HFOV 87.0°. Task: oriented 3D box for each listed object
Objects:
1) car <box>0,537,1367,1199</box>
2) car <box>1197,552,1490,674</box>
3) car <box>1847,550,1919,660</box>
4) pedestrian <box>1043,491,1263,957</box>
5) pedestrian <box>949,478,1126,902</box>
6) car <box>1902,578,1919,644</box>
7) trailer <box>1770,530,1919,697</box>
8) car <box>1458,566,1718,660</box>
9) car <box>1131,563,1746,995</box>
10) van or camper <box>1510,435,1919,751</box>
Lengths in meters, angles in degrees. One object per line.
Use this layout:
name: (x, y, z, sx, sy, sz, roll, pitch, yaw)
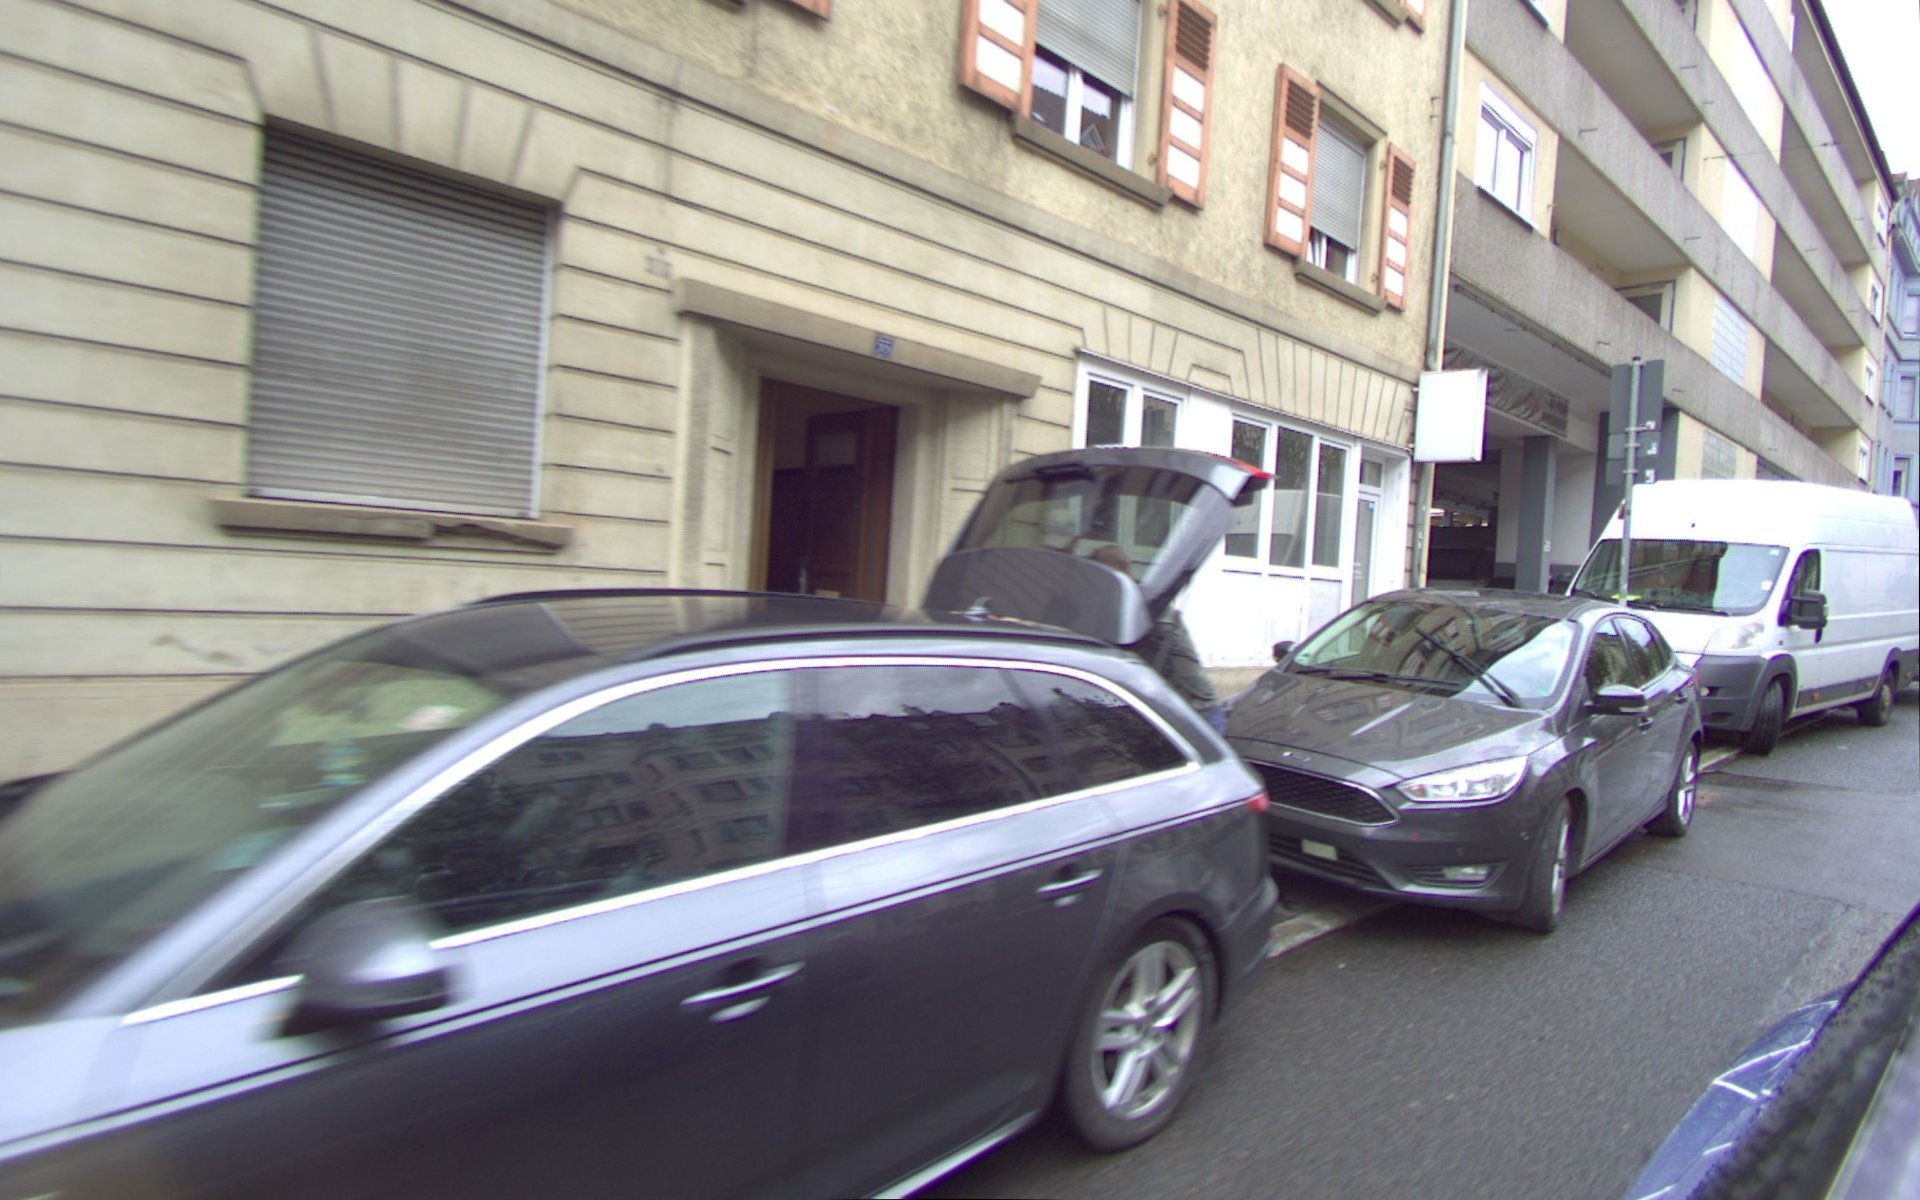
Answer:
car: (-0.953, 0.631, 2.497, 4.509, 1.497, 1.781, -1, 4, -42)
car: (5.733, 0.128, 15.383, 3.655, 1.408, 1.868, 7, 4, 44)
car: (21.330, 0.097, 22.158, 5.416, 2.174, 2.158, -1, 4, -42)
pedestrian: (0.800, 0.445, 4.154, 0.627, 1.708, 0.629, 8, 9, 19)
pedestrian: (0.343, 0.367, 4.709, 0.674, 1.808, 0.713, 3, 4, 3)
car: (26.139, 0.299, 26.466, 4.200, 1.659, 1.750, -1, 4, -42)
trailer: (14.544, 0.195, 15.636, 4.980, 2.178, 2.000, 1, 4, -39)
car: (12.190, 0.177, 19.873, 1.530, 1.408, 3.999, 0, 5, -39)
car: (2.933, 0.579, 5.704, 4.121, 1.497, 1.779, -2, 4, -44)
van or camper: (8.982, -0.112, 11.485, 6.298, 2.732, 2.192, 0, 3, -36)
